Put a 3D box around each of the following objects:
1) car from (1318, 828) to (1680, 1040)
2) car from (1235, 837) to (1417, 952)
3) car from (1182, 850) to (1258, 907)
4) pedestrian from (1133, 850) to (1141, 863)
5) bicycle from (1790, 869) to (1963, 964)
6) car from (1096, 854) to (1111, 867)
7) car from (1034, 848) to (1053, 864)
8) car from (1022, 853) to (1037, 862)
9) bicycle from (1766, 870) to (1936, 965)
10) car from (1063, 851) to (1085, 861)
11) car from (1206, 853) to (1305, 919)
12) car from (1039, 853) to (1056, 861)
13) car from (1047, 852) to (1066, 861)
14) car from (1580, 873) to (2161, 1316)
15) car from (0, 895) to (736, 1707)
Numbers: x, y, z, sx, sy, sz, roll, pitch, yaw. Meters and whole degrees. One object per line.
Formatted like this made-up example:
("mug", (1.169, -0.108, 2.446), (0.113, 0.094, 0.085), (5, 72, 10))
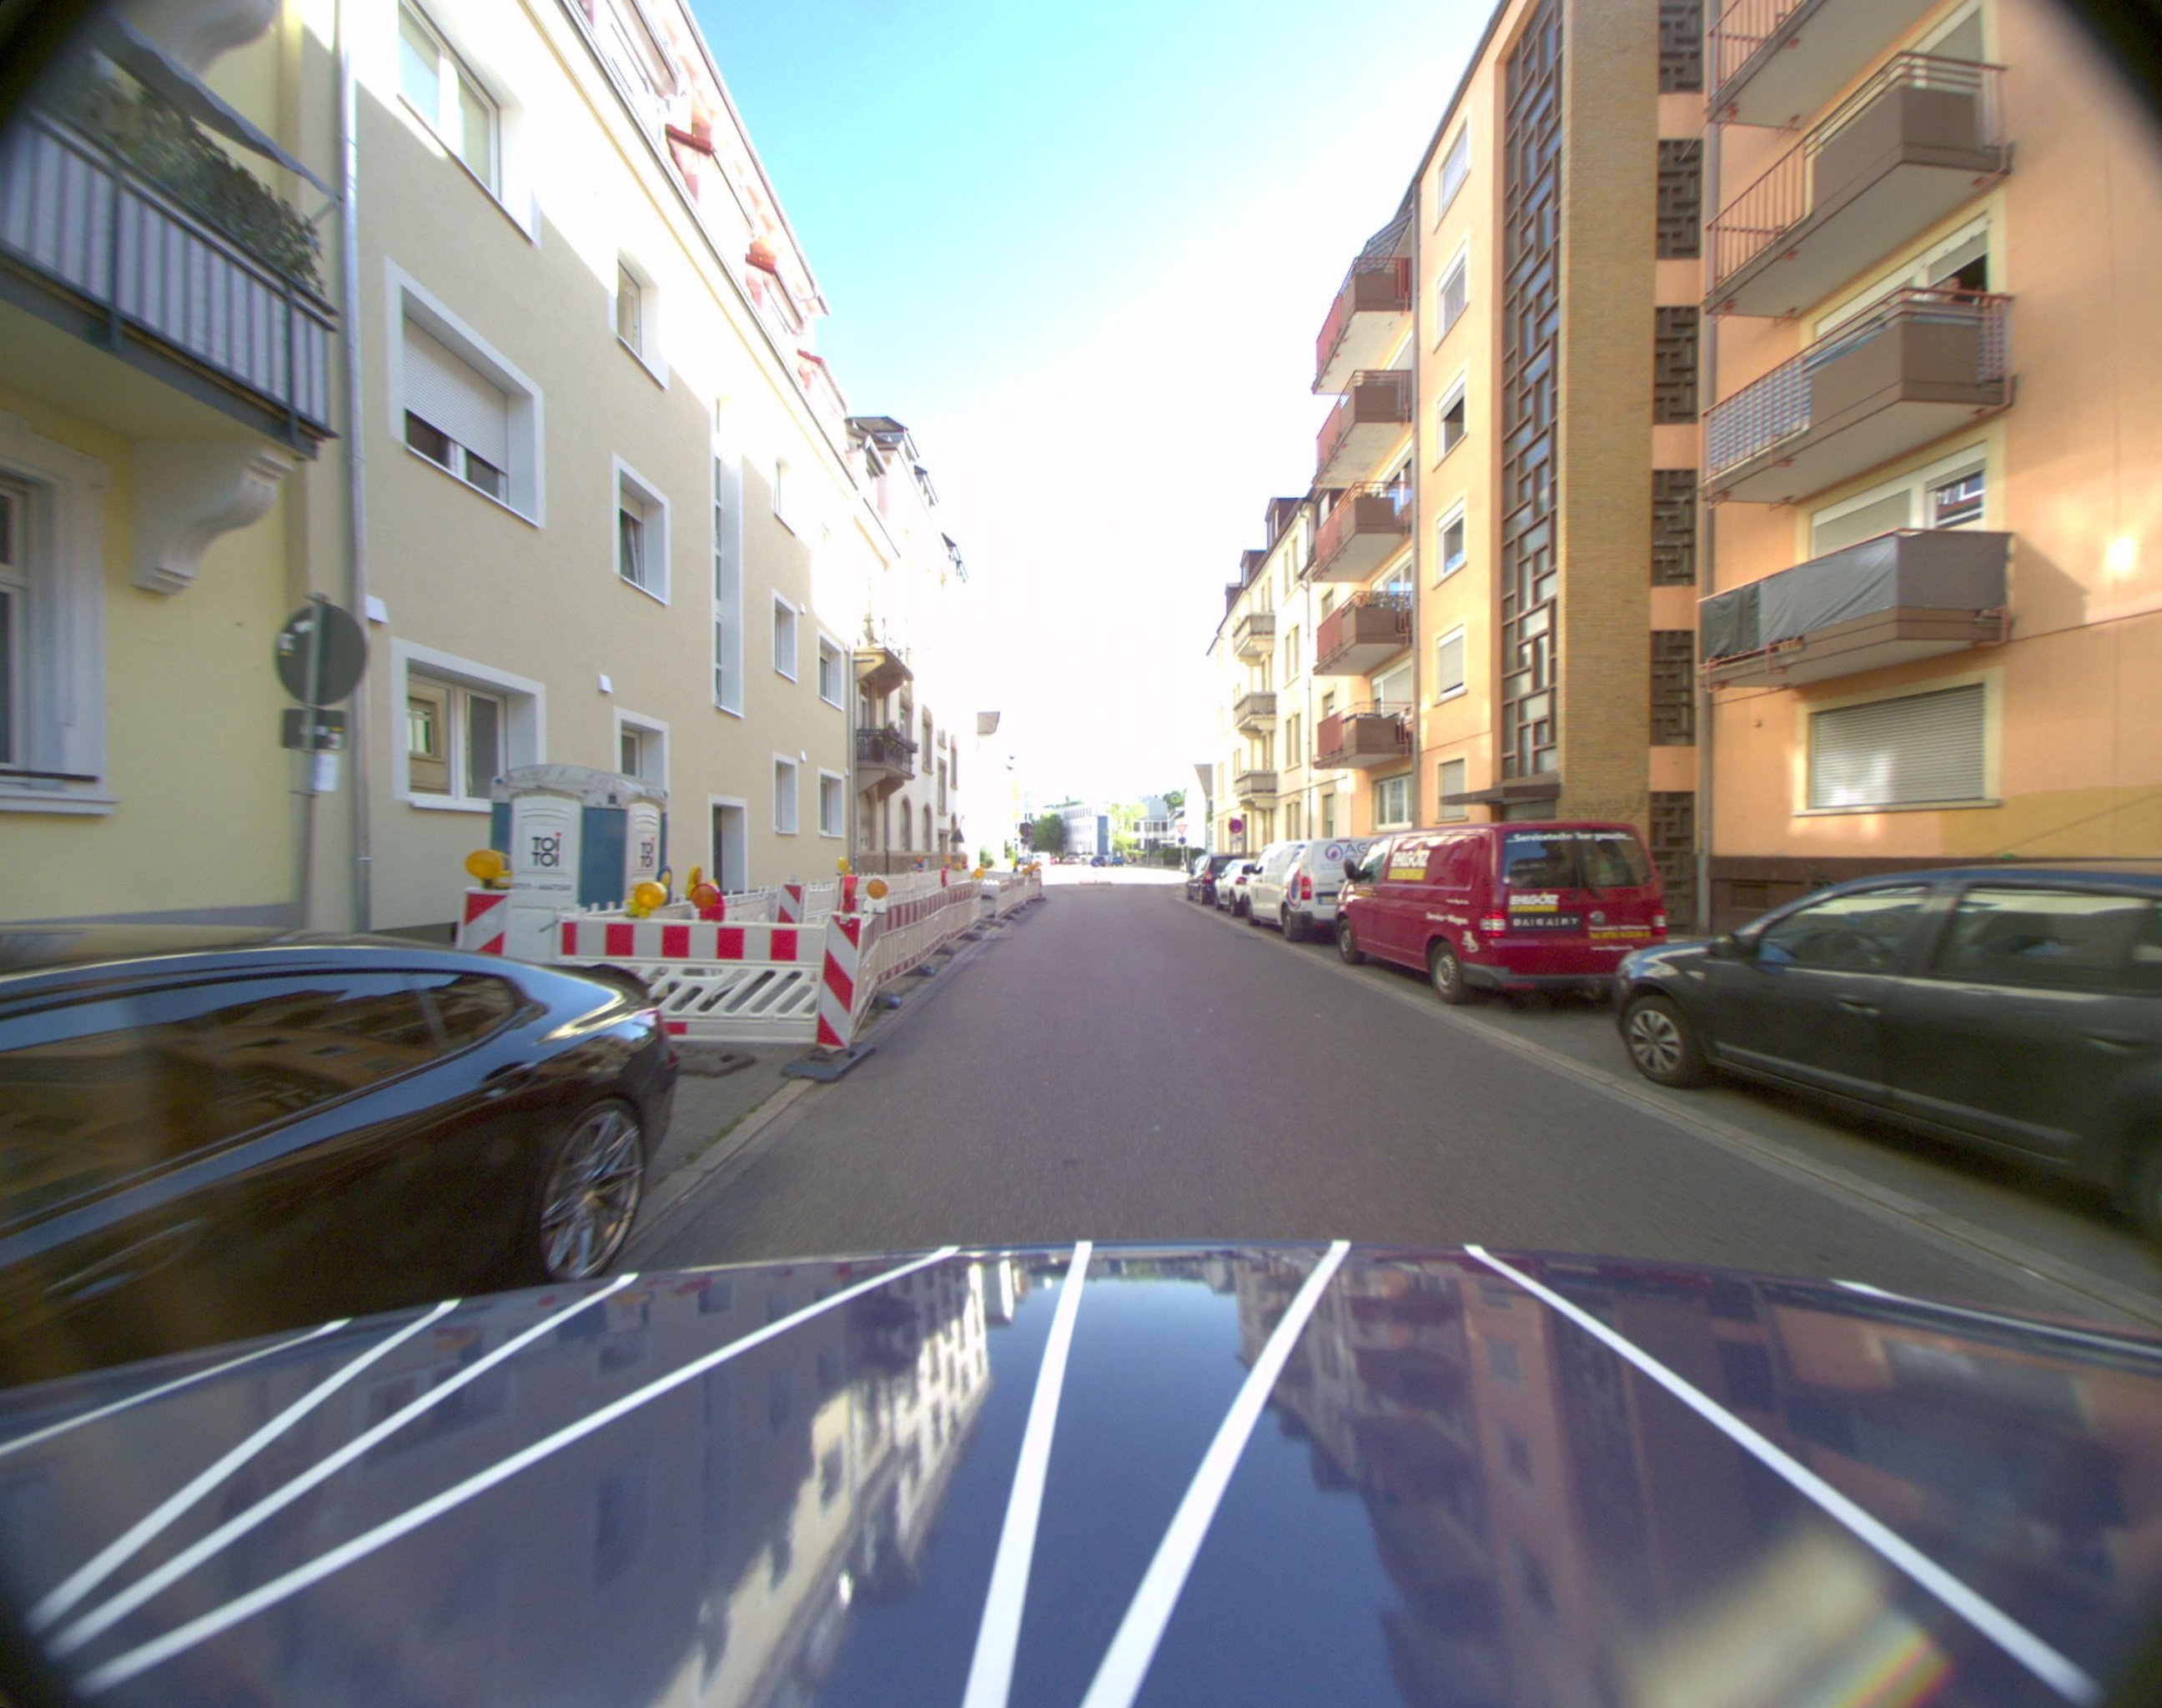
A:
("car", (4.617, 0.727, 9.453), (1.767, 1.914, 4.934), (-1, 0, 0))
("car", (4.690, 0.678, 15.519), (1.980, 1.914, 5.308), (-1, 0, 0))
("car", (4.629, 0.771, 25.937), (1.767, 1.761, 4.293), (-1, 0, 0))
("pedestrian", (7.773, 0.352, 105.765), (0.819, 1.696, 0.996), (-1, 1, -7))
("bicycle", (10.543, 0.782, 10.169), (0.342, 1.107, 1.762), (-1, 0, -6))
("car", (3.115, 0.886, 104.649), (1.879, 1.685, 4.273), (0, 0, 0))
("car", (-5.030, 0.287, 102.662), (1.998, 2.002, 4.797), (3, 0, 2))
("car", (-8.954, 0.553, 132.811), (1.760, 1.445, 3.994), (3, 0, -15))
("bicycle", (10.158, 0.789, 10.121), (0.342, 1.107, 1.762), (-1, 0, -6))
("car", (-1.275, 0.363, 136.056), (2.141, 1.604, 4.826), (-2, 1, -22))
("car", (4.754, 0.805, 21.280), (1.767, 1.611, 4.294), (-1, 0, 0))
("car", (-6.119, 0.525, 137.346), (1.719, 1.374, 3.991), (1, 0, -25))
("car", (-4.668, 0.398, 145.138), (2.141, 1.604, 4.827), (-2, 1, -21))
("car", (4.711, 0.900, 3.769), (1.767, 1.494, 3.999), (0, 0, -1))
("car", (-2.688, 0.970, 1.282), (1.805, 1.462, 5.111), (2, 0, 0))
